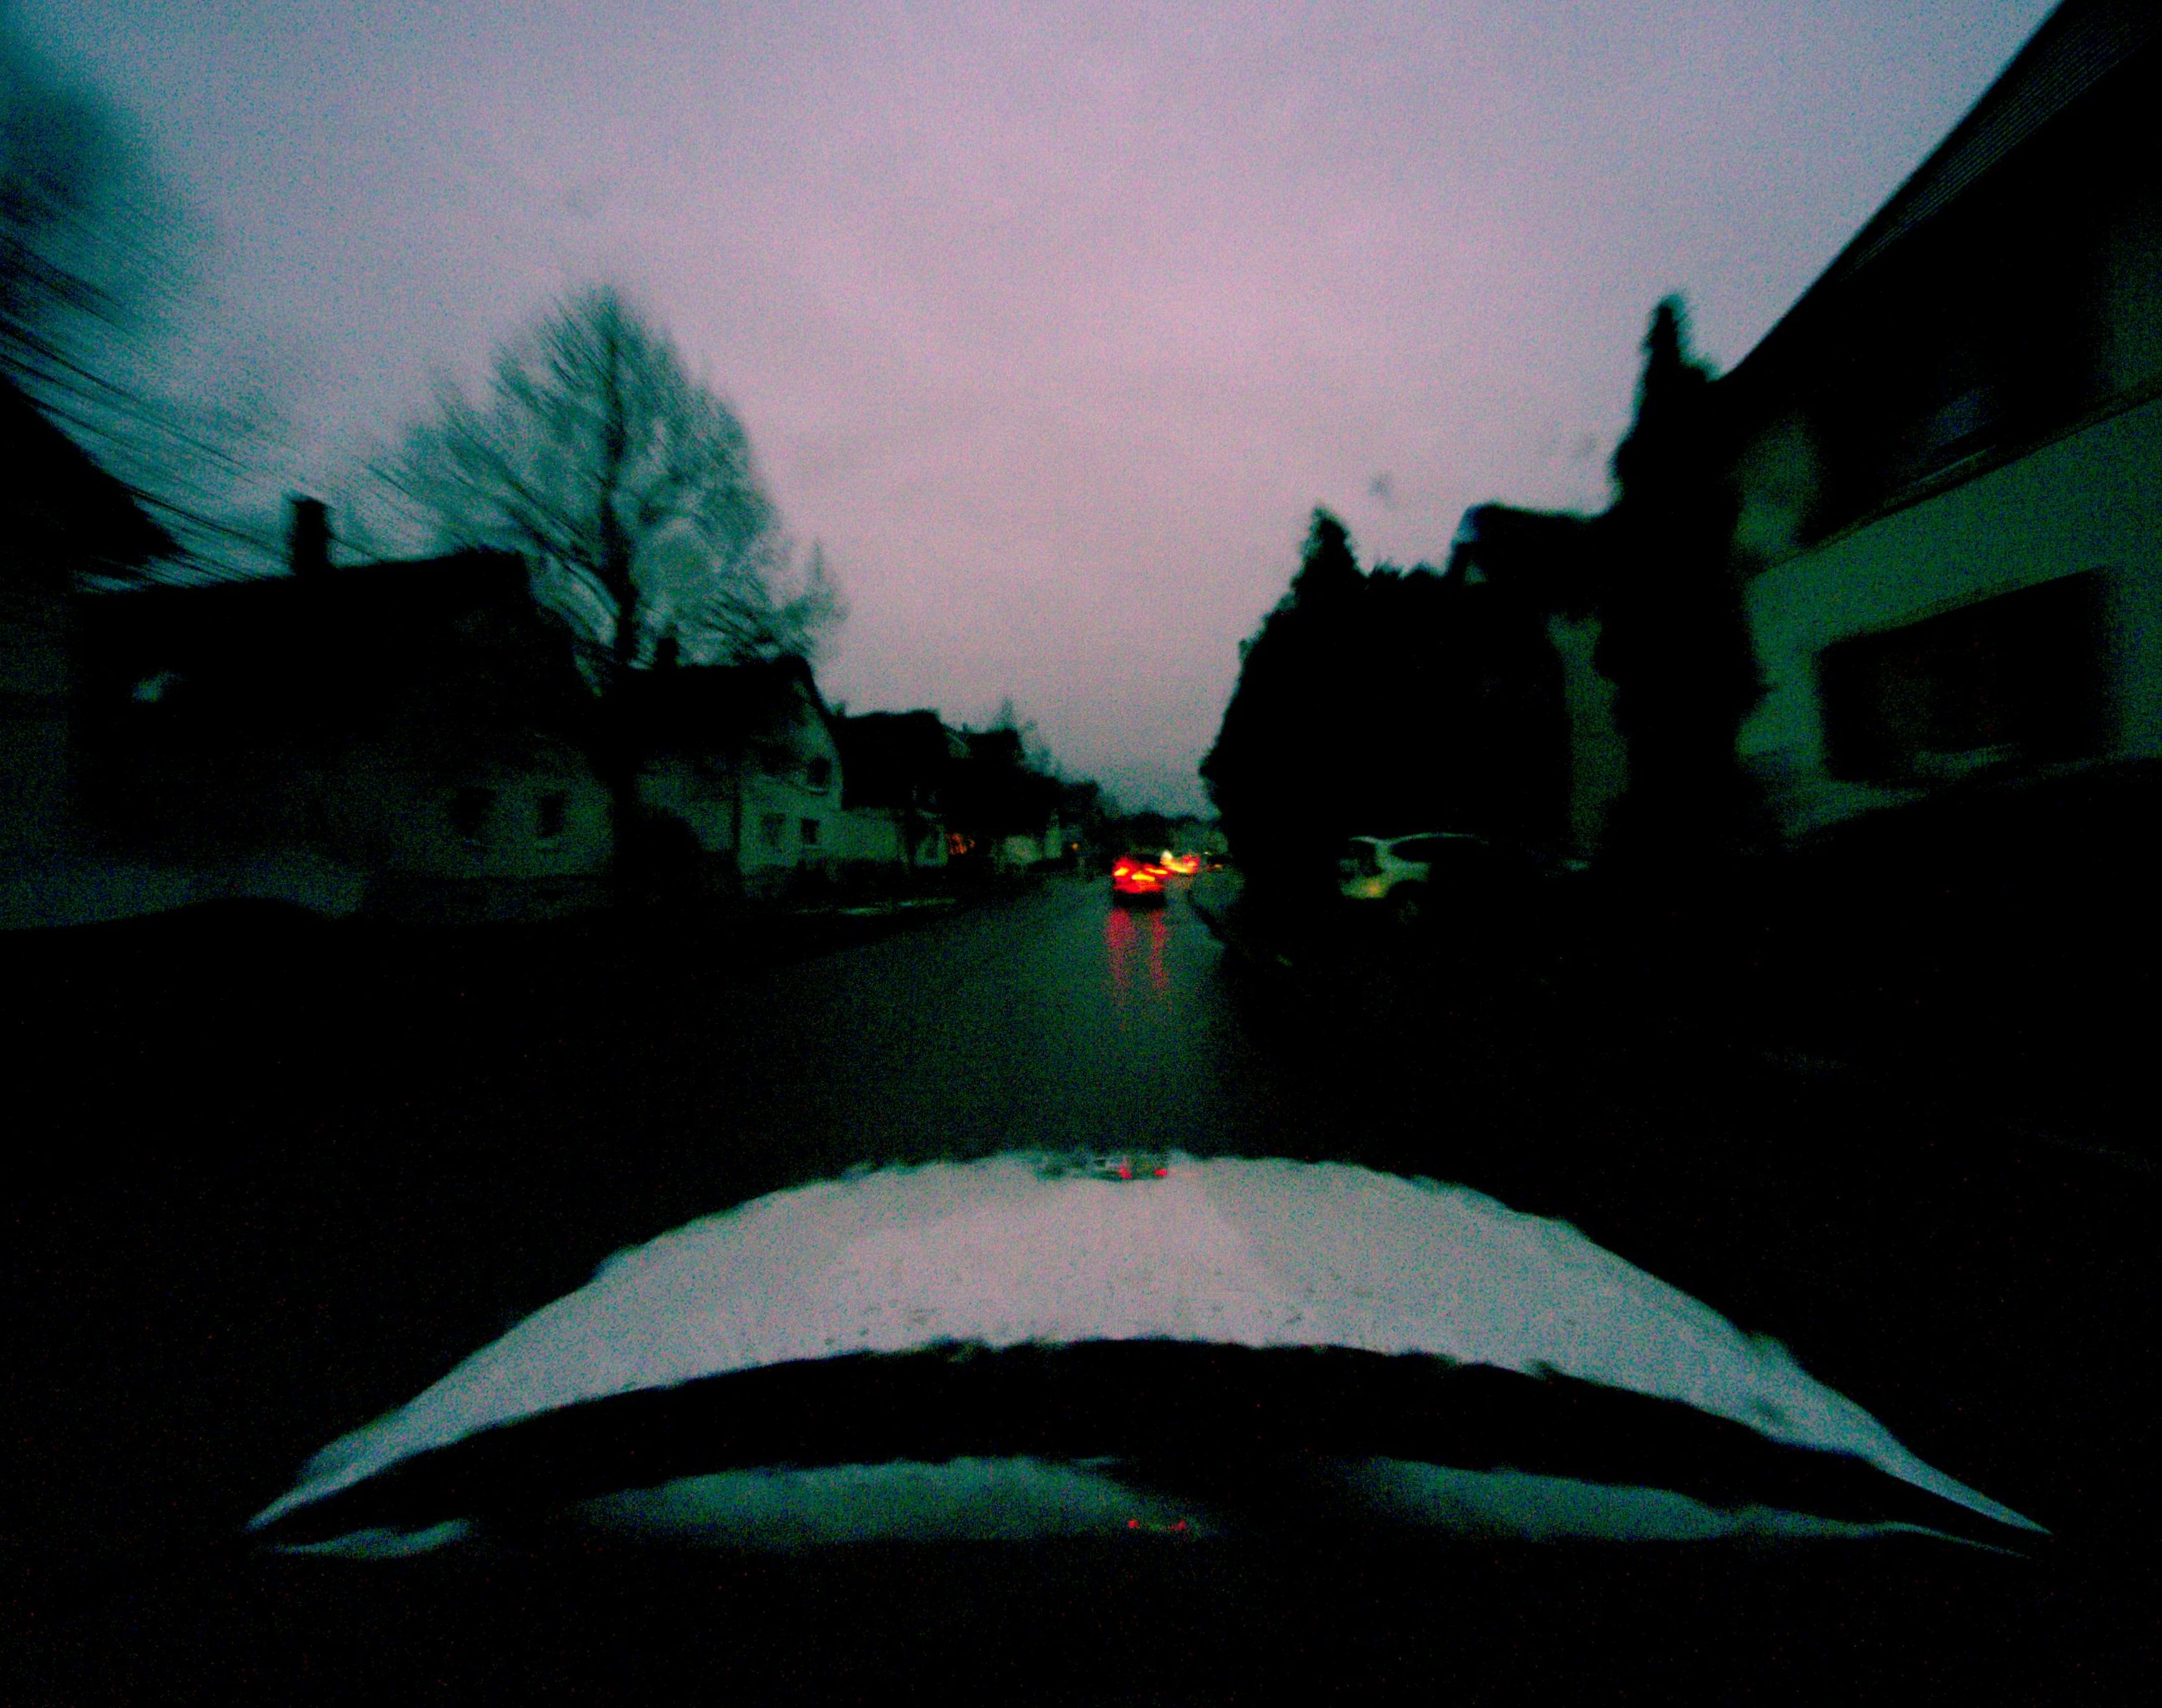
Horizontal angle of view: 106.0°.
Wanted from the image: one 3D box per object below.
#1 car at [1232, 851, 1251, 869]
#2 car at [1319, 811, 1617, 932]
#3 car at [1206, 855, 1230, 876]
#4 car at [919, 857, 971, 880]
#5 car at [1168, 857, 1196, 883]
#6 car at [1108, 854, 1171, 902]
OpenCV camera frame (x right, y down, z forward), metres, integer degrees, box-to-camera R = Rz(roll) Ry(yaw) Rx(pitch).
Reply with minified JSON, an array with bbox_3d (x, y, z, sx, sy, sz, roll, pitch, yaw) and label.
[{"bbox_3d":[20.396,0.732,103.344,1.963,2.013,5.768,-3,-1,15],"label":"car"},{"bbox_3d":[6.731,0.297,14.541,4.309,1.732,2.000,-4,0,-1],"label":"car"},{"bbox_3d":[10.836,0.875,64.237,1.638,1.540,3.401,-2,-1,12],"label":"car"},{"bbox_3d":[-8.324,0.877,50.288,1.770,1.366,4.013,0,-1,12],"label":"car"},{"bbox_3d":[7.960,1.240,63.926,1.981,2.014,4.011,0,-1,10],"label":"car"},{"bbox_3d":[2.000,0.778,27.871,1.985,1.525,4.004,-1,0,4],"label":"car"}]
